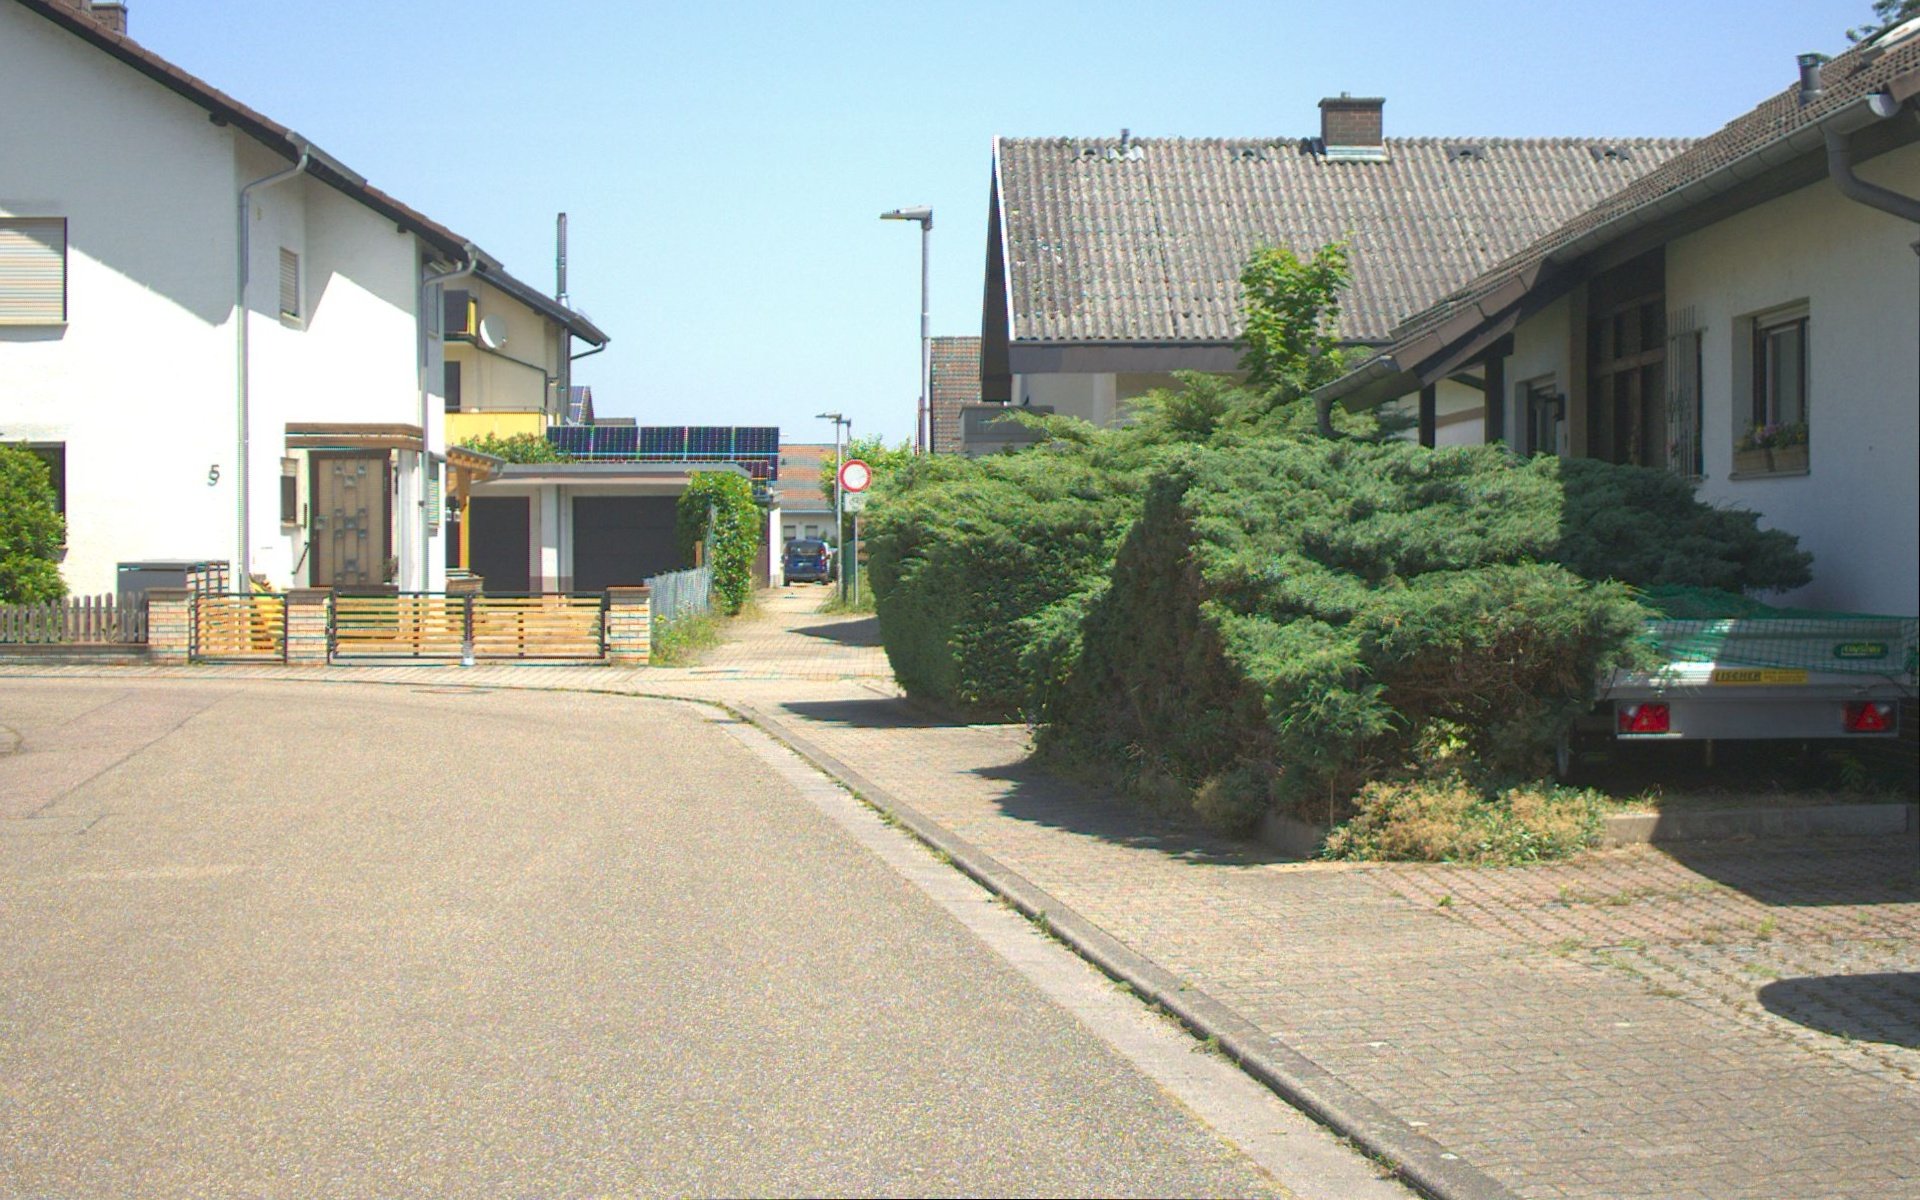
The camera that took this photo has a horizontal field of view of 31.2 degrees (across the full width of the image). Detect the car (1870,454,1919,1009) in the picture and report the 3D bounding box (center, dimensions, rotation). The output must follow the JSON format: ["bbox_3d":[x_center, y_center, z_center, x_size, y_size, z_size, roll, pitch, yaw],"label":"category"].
[{"bbox_3d":[5.214,0.350,10.056,4.627,1.696,1.709,-2,1,2],"label":"car"}]

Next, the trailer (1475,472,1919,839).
[{"bbox_3d":[3.720,0.210,17.619,1.587,1.666,3.297,-2,2,-1],"label":"trailer"}]

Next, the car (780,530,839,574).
[{"bbox_3d":[-5.929,-1.910,135.560,2.193,1.695,3.807,0,1,-1],"label":"car"}]
